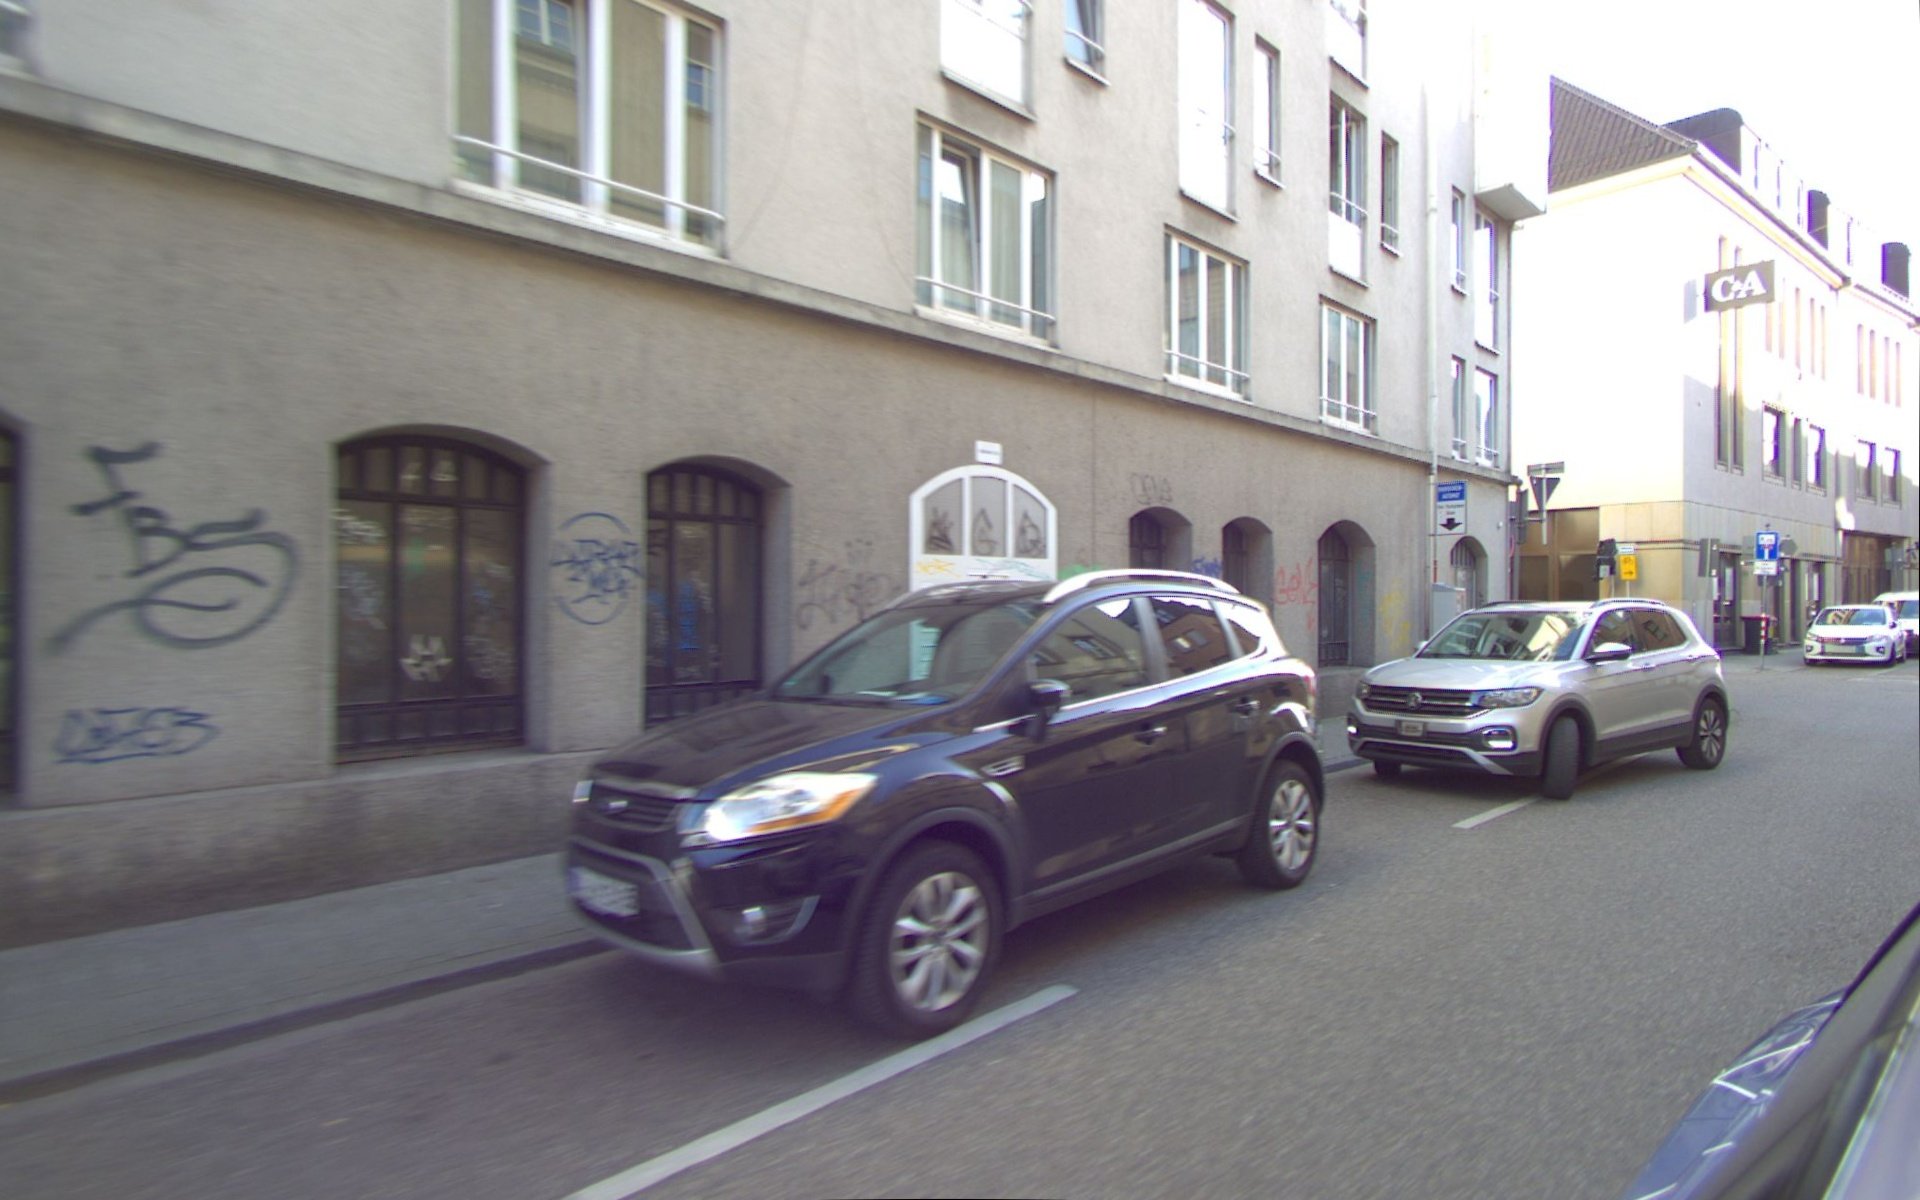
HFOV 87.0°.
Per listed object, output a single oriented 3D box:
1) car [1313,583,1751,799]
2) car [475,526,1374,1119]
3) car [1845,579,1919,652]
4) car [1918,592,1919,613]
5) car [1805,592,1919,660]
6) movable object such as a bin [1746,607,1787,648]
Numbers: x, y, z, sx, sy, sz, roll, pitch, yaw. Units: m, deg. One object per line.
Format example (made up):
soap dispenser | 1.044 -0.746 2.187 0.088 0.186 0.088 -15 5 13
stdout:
car | 5.272 0.665 9.233 3.908 1.579 1.832 0 -1 -32
car | 0.199 0.632 5.068 4.418 1.676 1.826 0 -1 -44
car | 27.286 0.405 28.784 5.097 1.886 1.947 0 -4 -36
car | 32.272 0.489 32.234 3.784 1.605 1.776 0 -4 -36
car | 22.569 0.611 25.186 3.930 1.568 1.733 0 -1 -41
movable object such as a bin | 21.928 0.732 27.504 0.913 1.100 0.687 0 -1 -40
